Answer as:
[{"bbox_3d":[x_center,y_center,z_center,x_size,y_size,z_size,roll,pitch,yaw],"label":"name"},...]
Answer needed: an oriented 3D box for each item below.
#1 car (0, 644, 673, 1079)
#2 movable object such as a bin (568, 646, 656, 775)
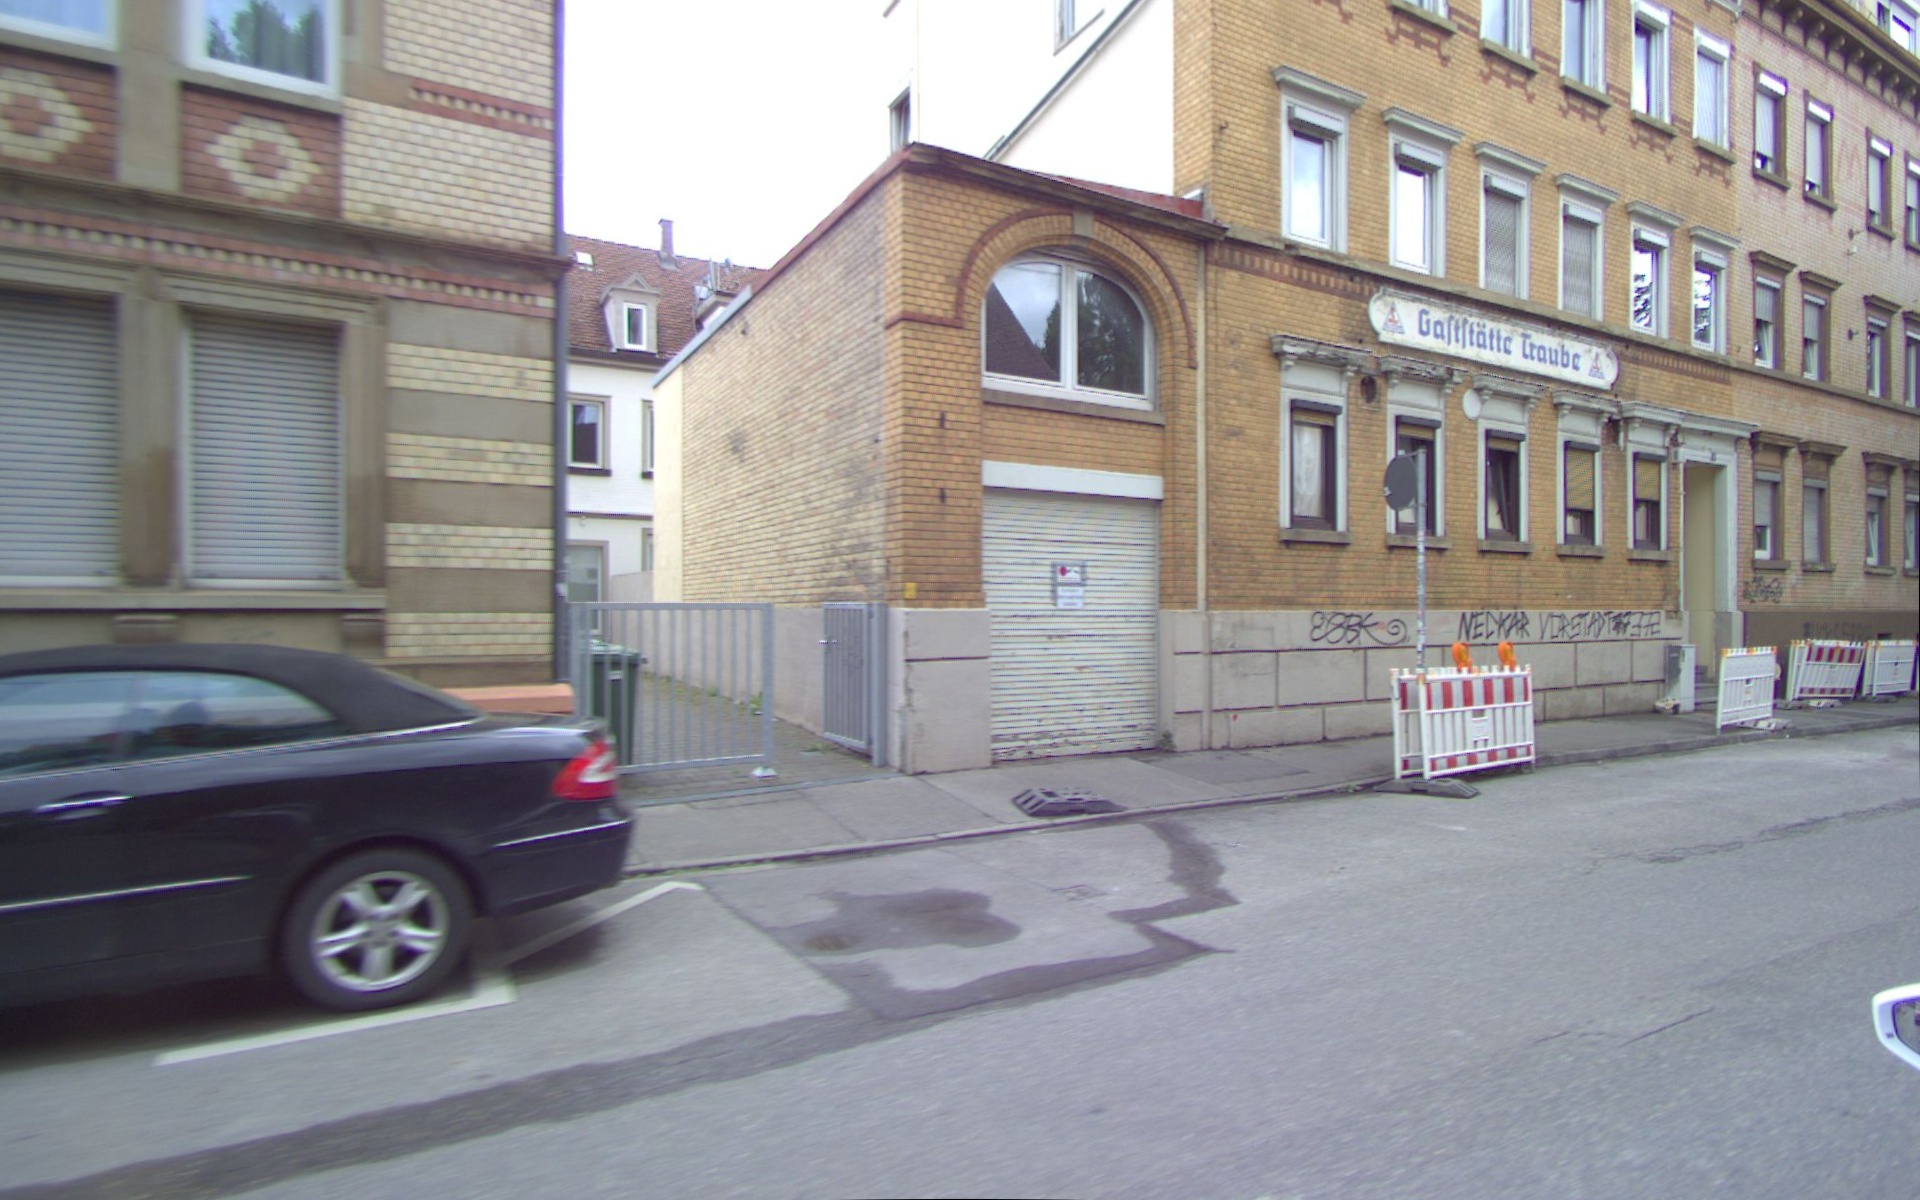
[{"bbox_3d":[-3.495,0.897,4.009,4.302,1.401,1.572,1,-2,-29],"label":"car"},{"bbox_3d":[-3.110,0.965,8.968,0.659,1.063,0.500,1,1,-30],"label":"movable object such as a bin"}]
